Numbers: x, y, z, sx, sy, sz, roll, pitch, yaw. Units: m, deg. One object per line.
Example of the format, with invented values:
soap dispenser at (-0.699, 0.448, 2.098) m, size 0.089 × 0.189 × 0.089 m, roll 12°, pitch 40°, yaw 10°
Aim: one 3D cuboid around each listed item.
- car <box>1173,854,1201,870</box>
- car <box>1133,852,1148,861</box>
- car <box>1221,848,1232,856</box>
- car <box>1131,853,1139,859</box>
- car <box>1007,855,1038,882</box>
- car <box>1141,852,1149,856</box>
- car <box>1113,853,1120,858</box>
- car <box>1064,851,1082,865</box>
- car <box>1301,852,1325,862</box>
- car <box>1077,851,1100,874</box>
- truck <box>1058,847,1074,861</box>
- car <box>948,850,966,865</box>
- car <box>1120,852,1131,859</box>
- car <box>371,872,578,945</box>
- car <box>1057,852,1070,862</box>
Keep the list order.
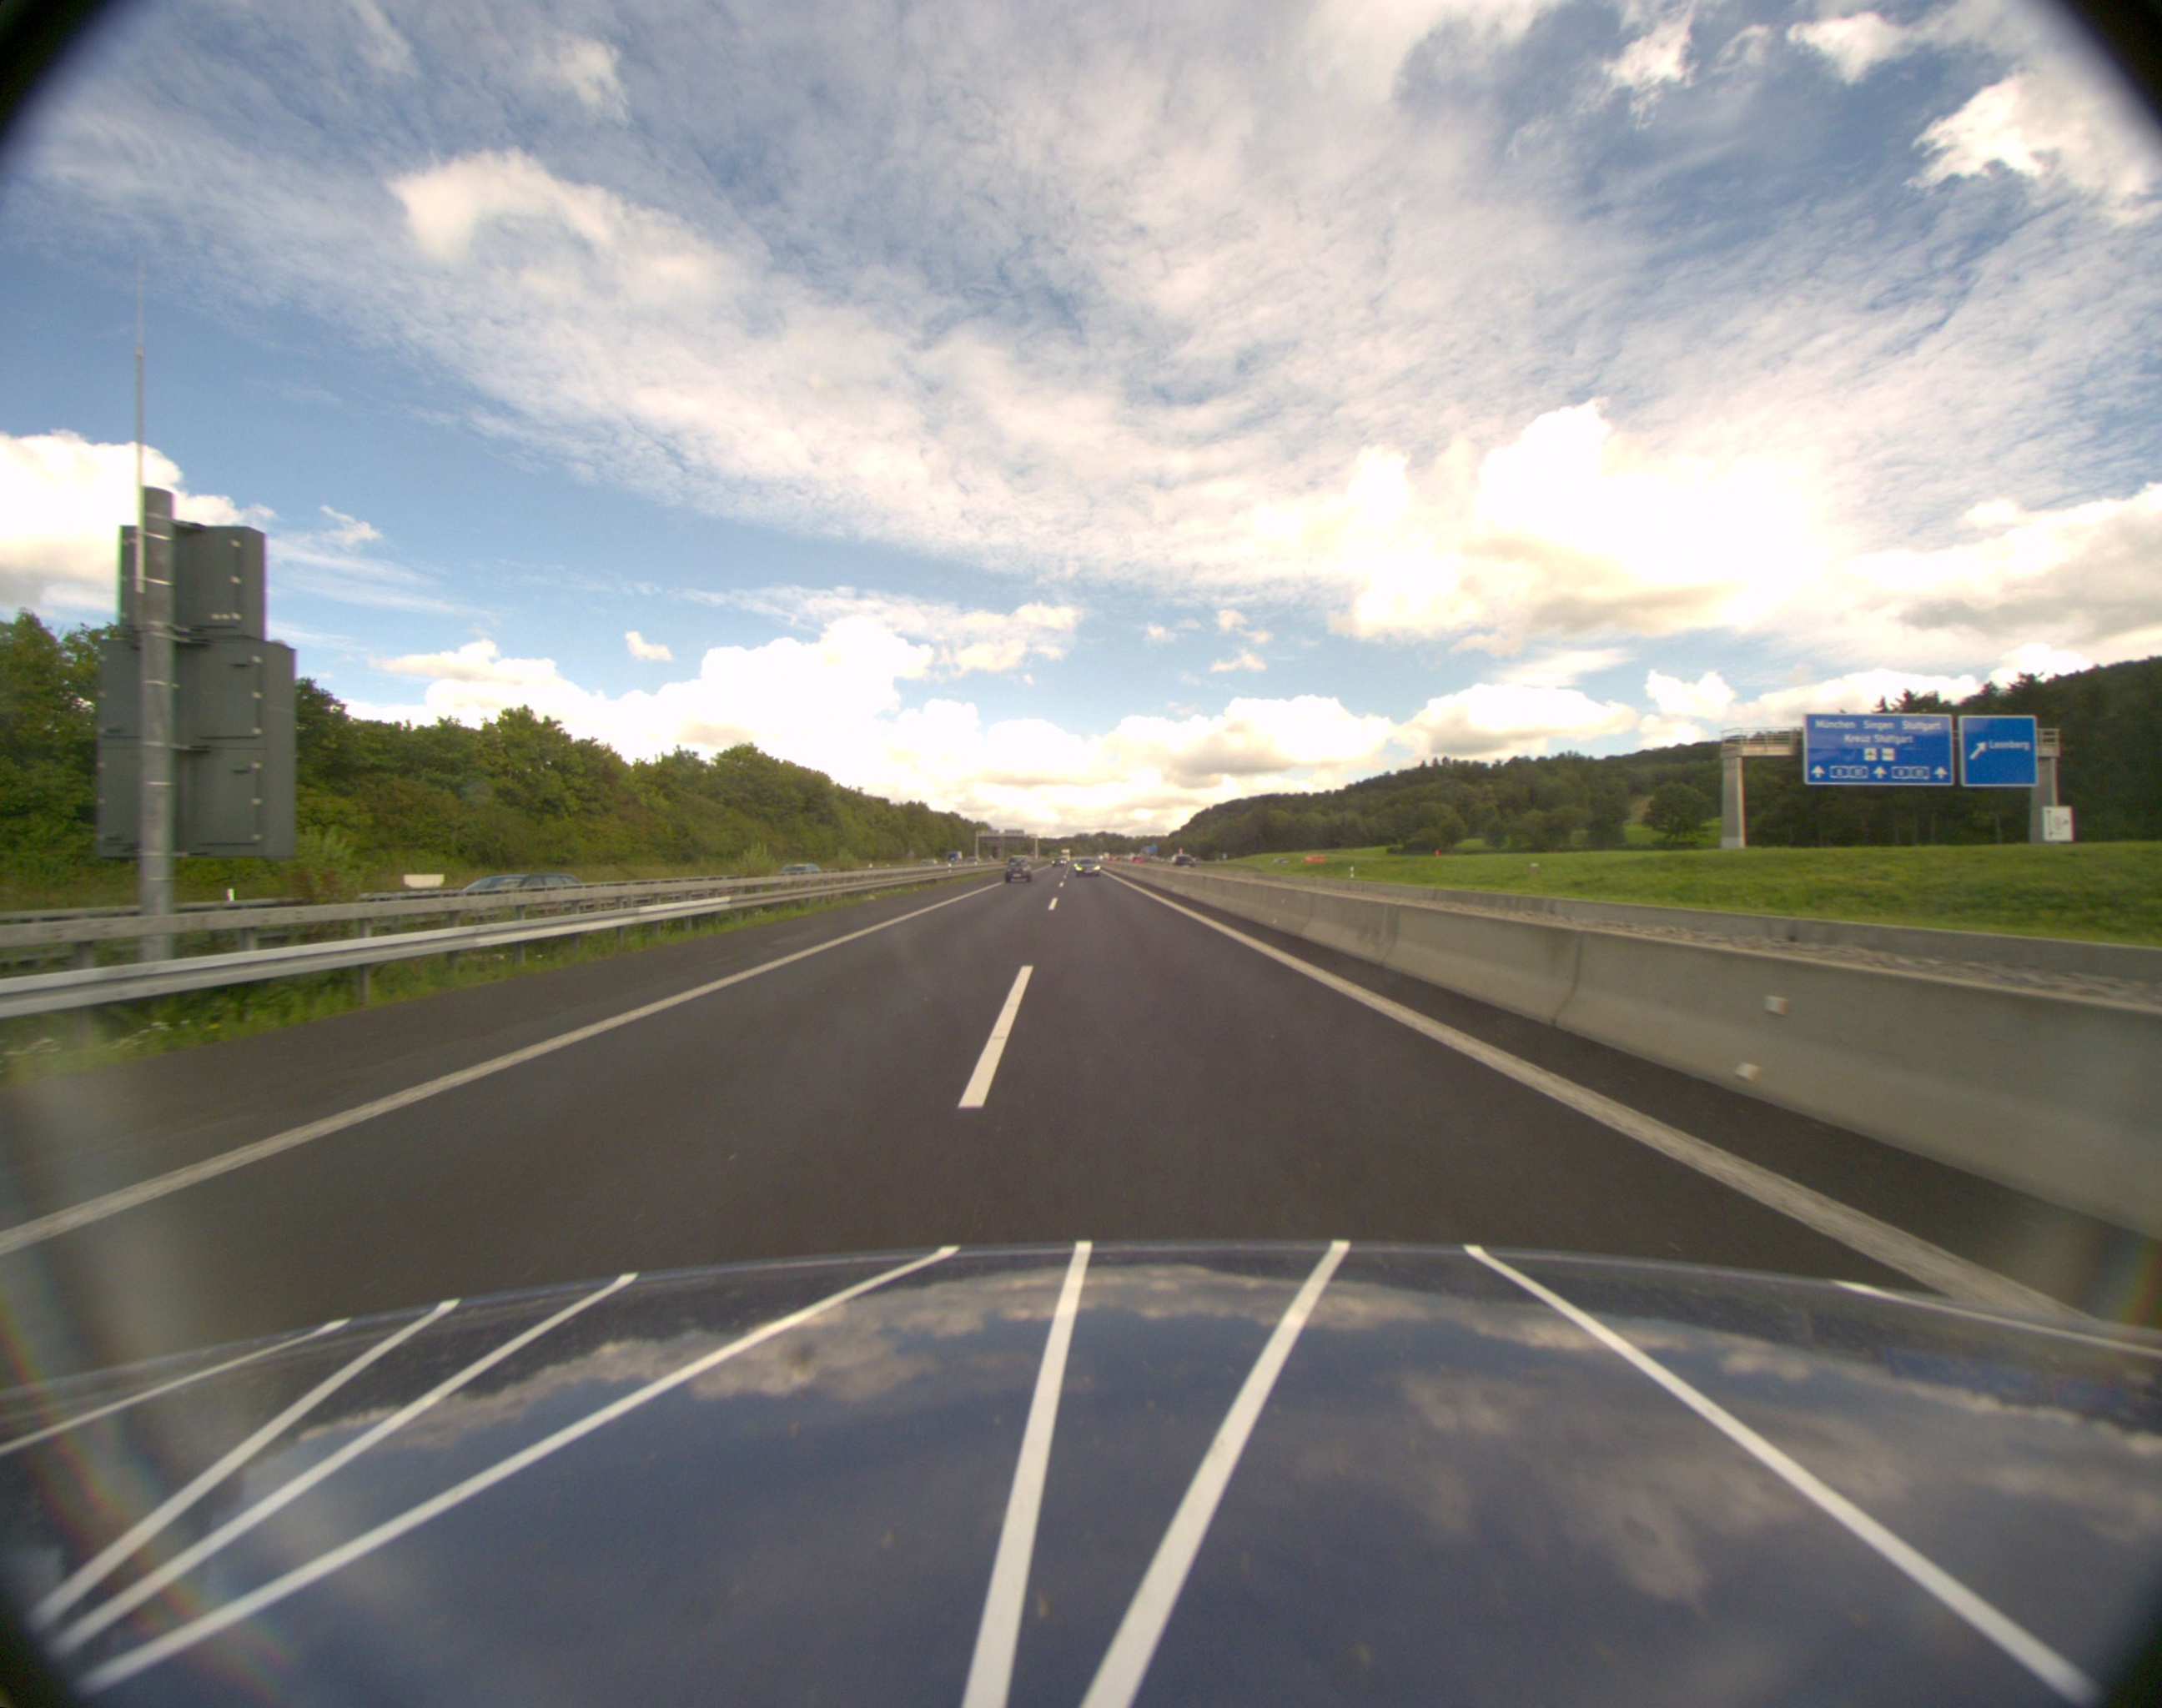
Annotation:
car at (9.530, 0.707, 68.499) m, size 1.792 × 1.390 × 4.622 m, roll 0°, pitch 0°, yaw 0°
car at (8.810, 0.368, 113.396) m, size 1.792 × 1.390 × 4.799 m, roll 0°, pitch 0°, yaw 0°
car at (38.912, -0.513, 202.937) m, size 1.999 × 2.002 × 3.998 m, roll 0°, pitch 0°, yaw -4°
car at (12.999, 0.462, 183.159) m, size 1.732 × 1.390 × 4.157 m, roll 0°, pitch 0°, yaw 0°
car at (-3.835, 0.927, 50.312) m, size 1.670 × 1.722 × 4.207 m, roll -1°, pitch 0°, yaw 1°
car at (21.626, -0.013, 255.718) m, size 1.778 × 1.539 × 4.887 m, roll 0°, pitch 0°, yaw -5°
car at (9.692, 0.480, 205.520) m, size 1.646 × 1.390 × 3.741 m, roll 0°, pitch 0°, yaw 0°
car at (-0.823, 0.439, 80.476) m, size 1.724 × 1.406 × 3.938 m, roll -1°, pitch 0°, yaw 1°
car at (36.720, 0.442, 120.361) m, size 1.778 × 1.539 × 4.887 m, roll 0°, pitch 0°, yaw -5°
car at (0.598, 0.651, 60.097) m, size 1.724 × 1.722 × 3.938 m, roll -1°, pitch 0°, yaw 1°
truck at (-4.969, 0.035, 250.262) m, size 4.948 × 4.306 × 14.628 m, roll 0°, pitch 0°, yaw 0°
car at (-19.264, 0.489, 118.086) m, size 1.999 × 2.173 × 5.127 m, roll -1°, pitch 0°, yaw -1°
car at (9.053, 0.311, 154.316) m, size 1.792 × 1.390 × 4.724 m, roll 0°, pitch 0°, yaw 0°
car at (-14.876, 1.270, 18.982) m, size 1.999 × 1.476 × 3.999 m, roll -1°, pitch 0°, yaw -1°
car at (-2.875, 0.457, 127.496) m, size 1.998 × 1.591 × 4.000 m, roll 0°, pitch 0°, yaw 1°
